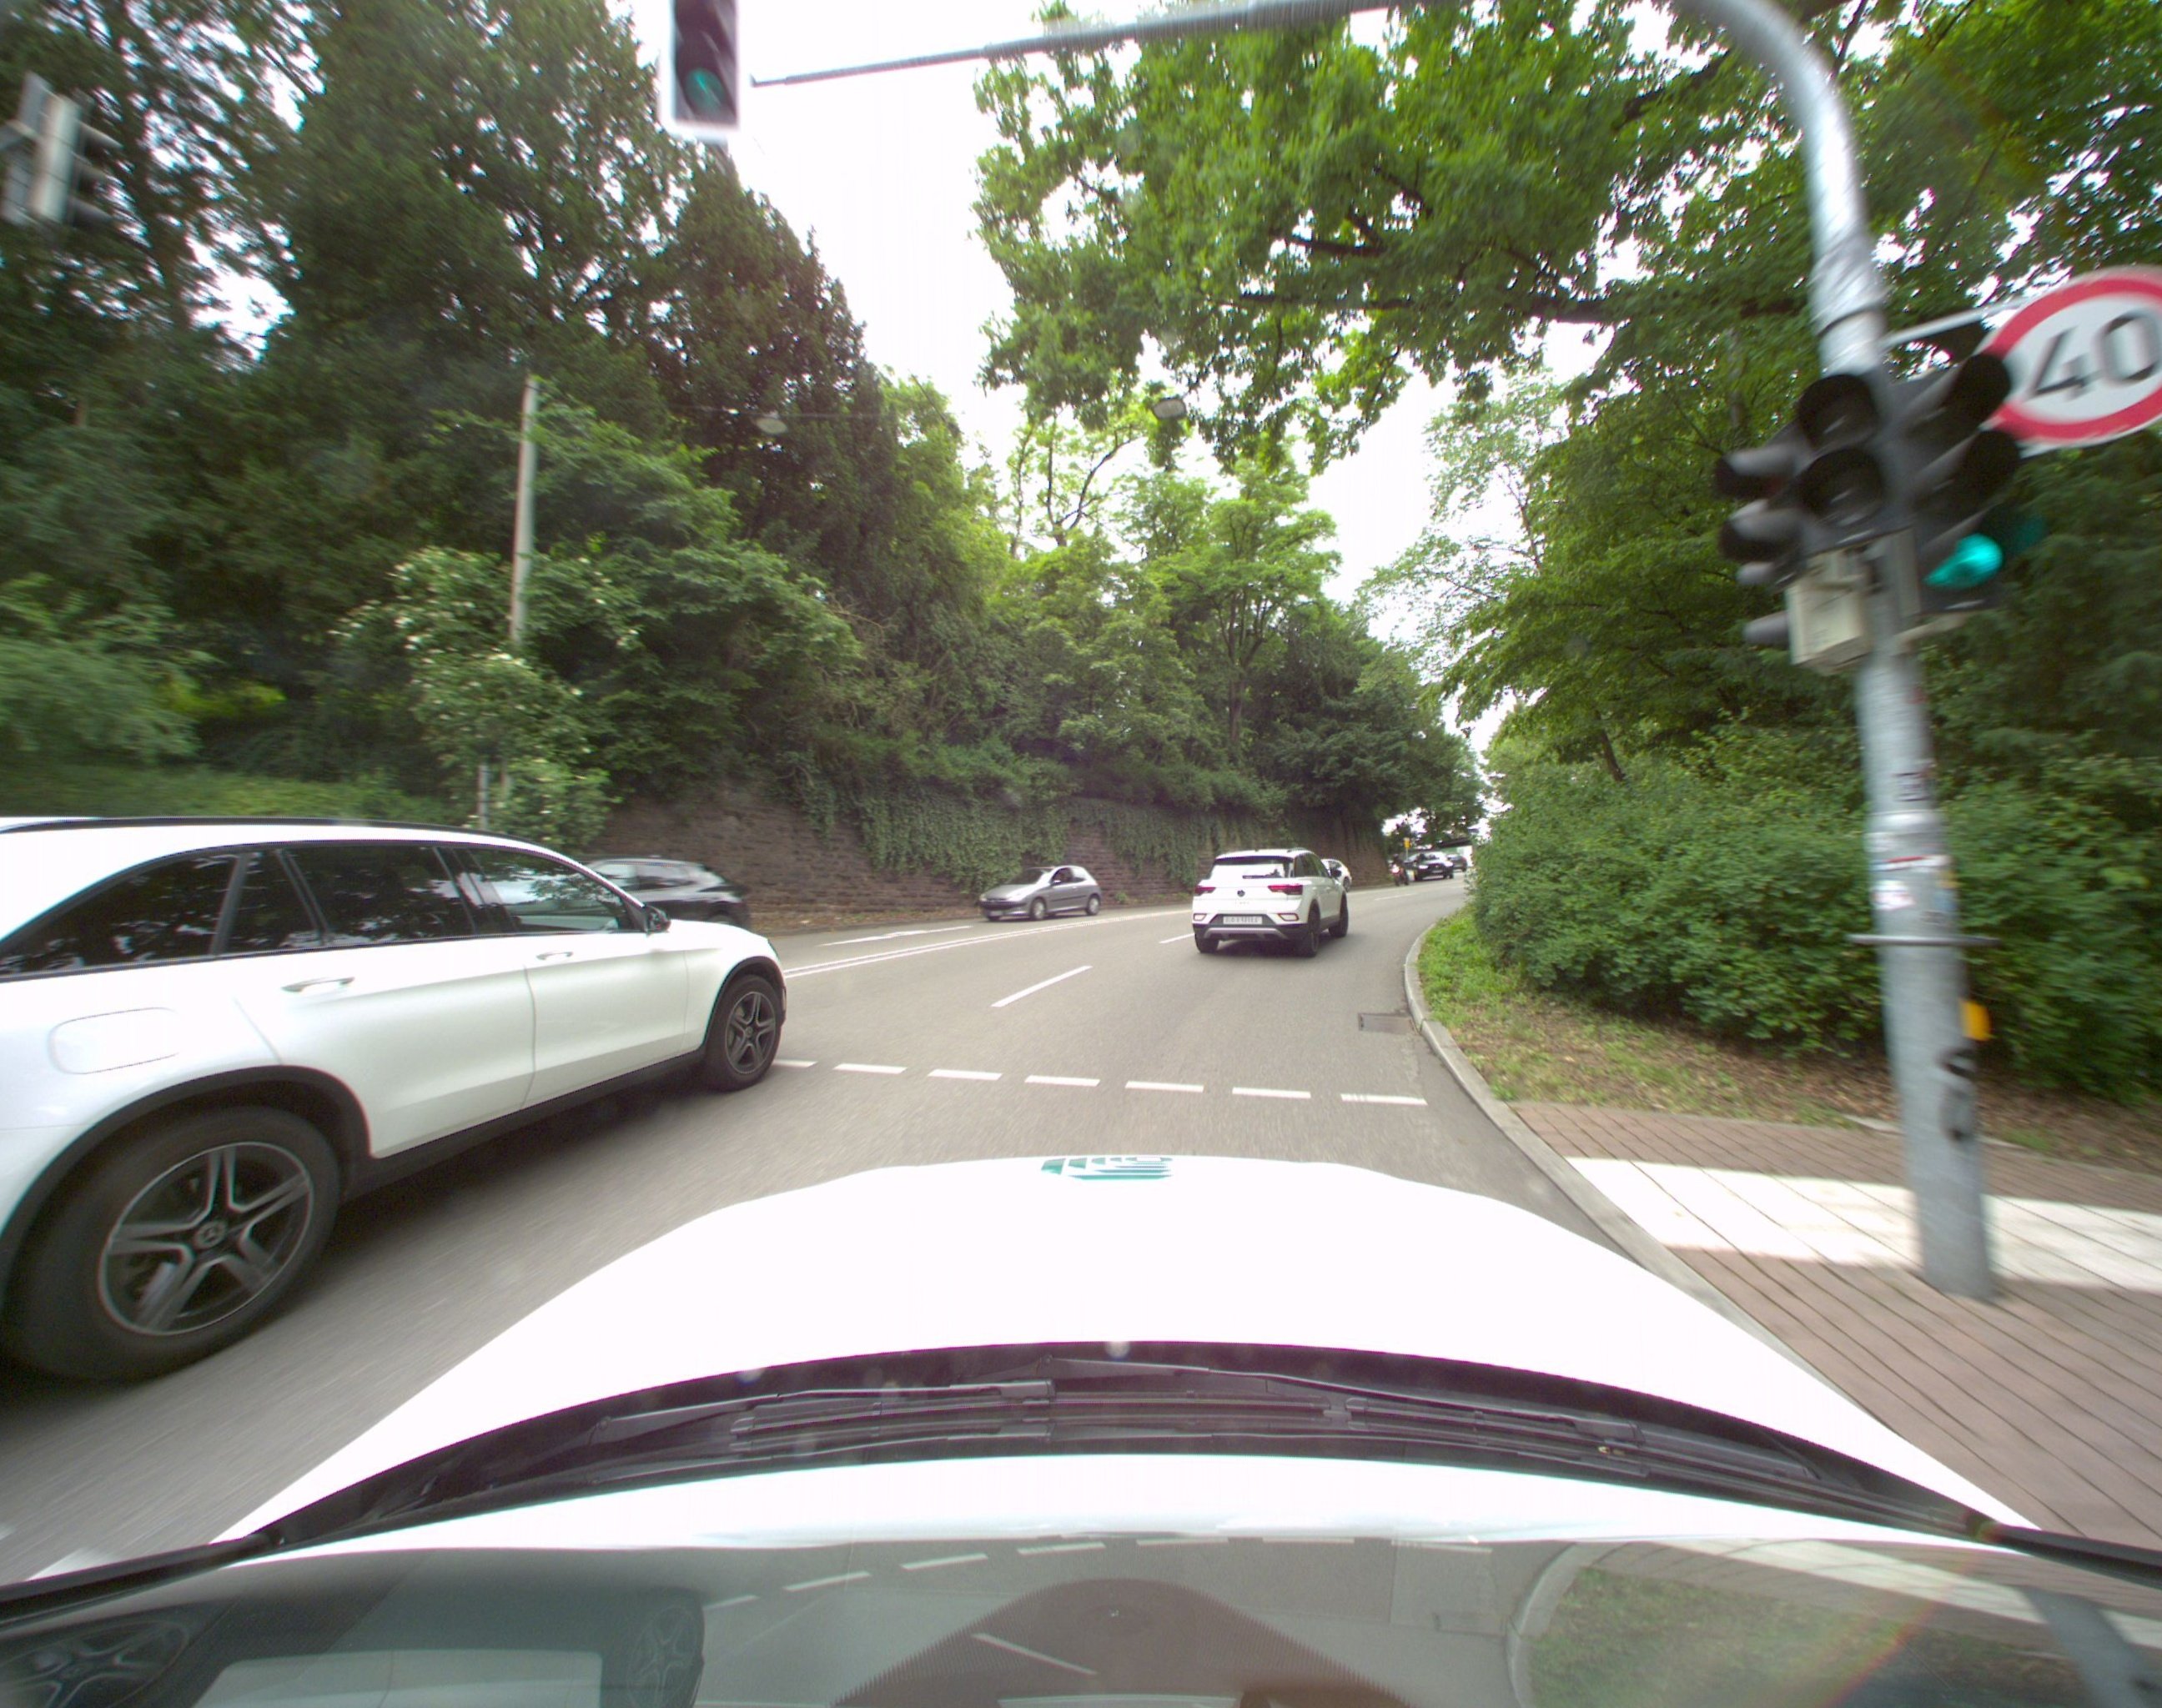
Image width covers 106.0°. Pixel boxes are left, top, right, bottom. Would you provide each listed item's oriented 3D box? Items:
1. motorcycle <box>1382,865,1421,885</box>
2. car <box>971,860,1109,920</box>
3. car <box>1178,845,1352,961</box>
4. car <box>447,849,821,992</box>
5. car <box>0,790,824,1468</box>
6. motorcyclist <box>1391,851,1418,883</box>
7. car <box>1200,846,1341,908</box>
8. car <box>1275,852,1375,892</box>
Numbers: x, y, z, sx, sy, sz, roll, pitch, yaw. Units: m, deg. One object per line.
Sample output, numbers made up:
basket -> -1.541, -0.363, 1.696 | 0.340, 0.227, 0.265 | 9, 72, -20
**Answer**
motorcycle -> 15.893, 1.050, 40.373 | 2.443, 0.890, 0.801 | -1, -4, -44
car -> -1.001, 0.912, 21.673 | 1.591, 1.418, 3.778 | -3, -2, 37
car -> 3.163, 0.638, 13.235 | 1.738, 1.552, 4.363 | -1, 0, 27
car -> -5.724, 0.763, 11.146 | 1.616, 1.543, 4.421 | -2, -1, 22
car -> -3.197, 0.630, 3.908 | 1.848, 1.605, 4.681 | 2, 0, 8
motorcyclist -> 16.128, 0.634, 40.636 | 1.101, 1.529, 0.740 | -1, -4, -44
car -> 5.361, 0.589, 22.532 | 1.847, 1.534, 4.807 | -3, -1, 39
car -> 10.198, 0.729, 33.929 | 4.350, 1.416, 1.732 | -1, -4, -38
